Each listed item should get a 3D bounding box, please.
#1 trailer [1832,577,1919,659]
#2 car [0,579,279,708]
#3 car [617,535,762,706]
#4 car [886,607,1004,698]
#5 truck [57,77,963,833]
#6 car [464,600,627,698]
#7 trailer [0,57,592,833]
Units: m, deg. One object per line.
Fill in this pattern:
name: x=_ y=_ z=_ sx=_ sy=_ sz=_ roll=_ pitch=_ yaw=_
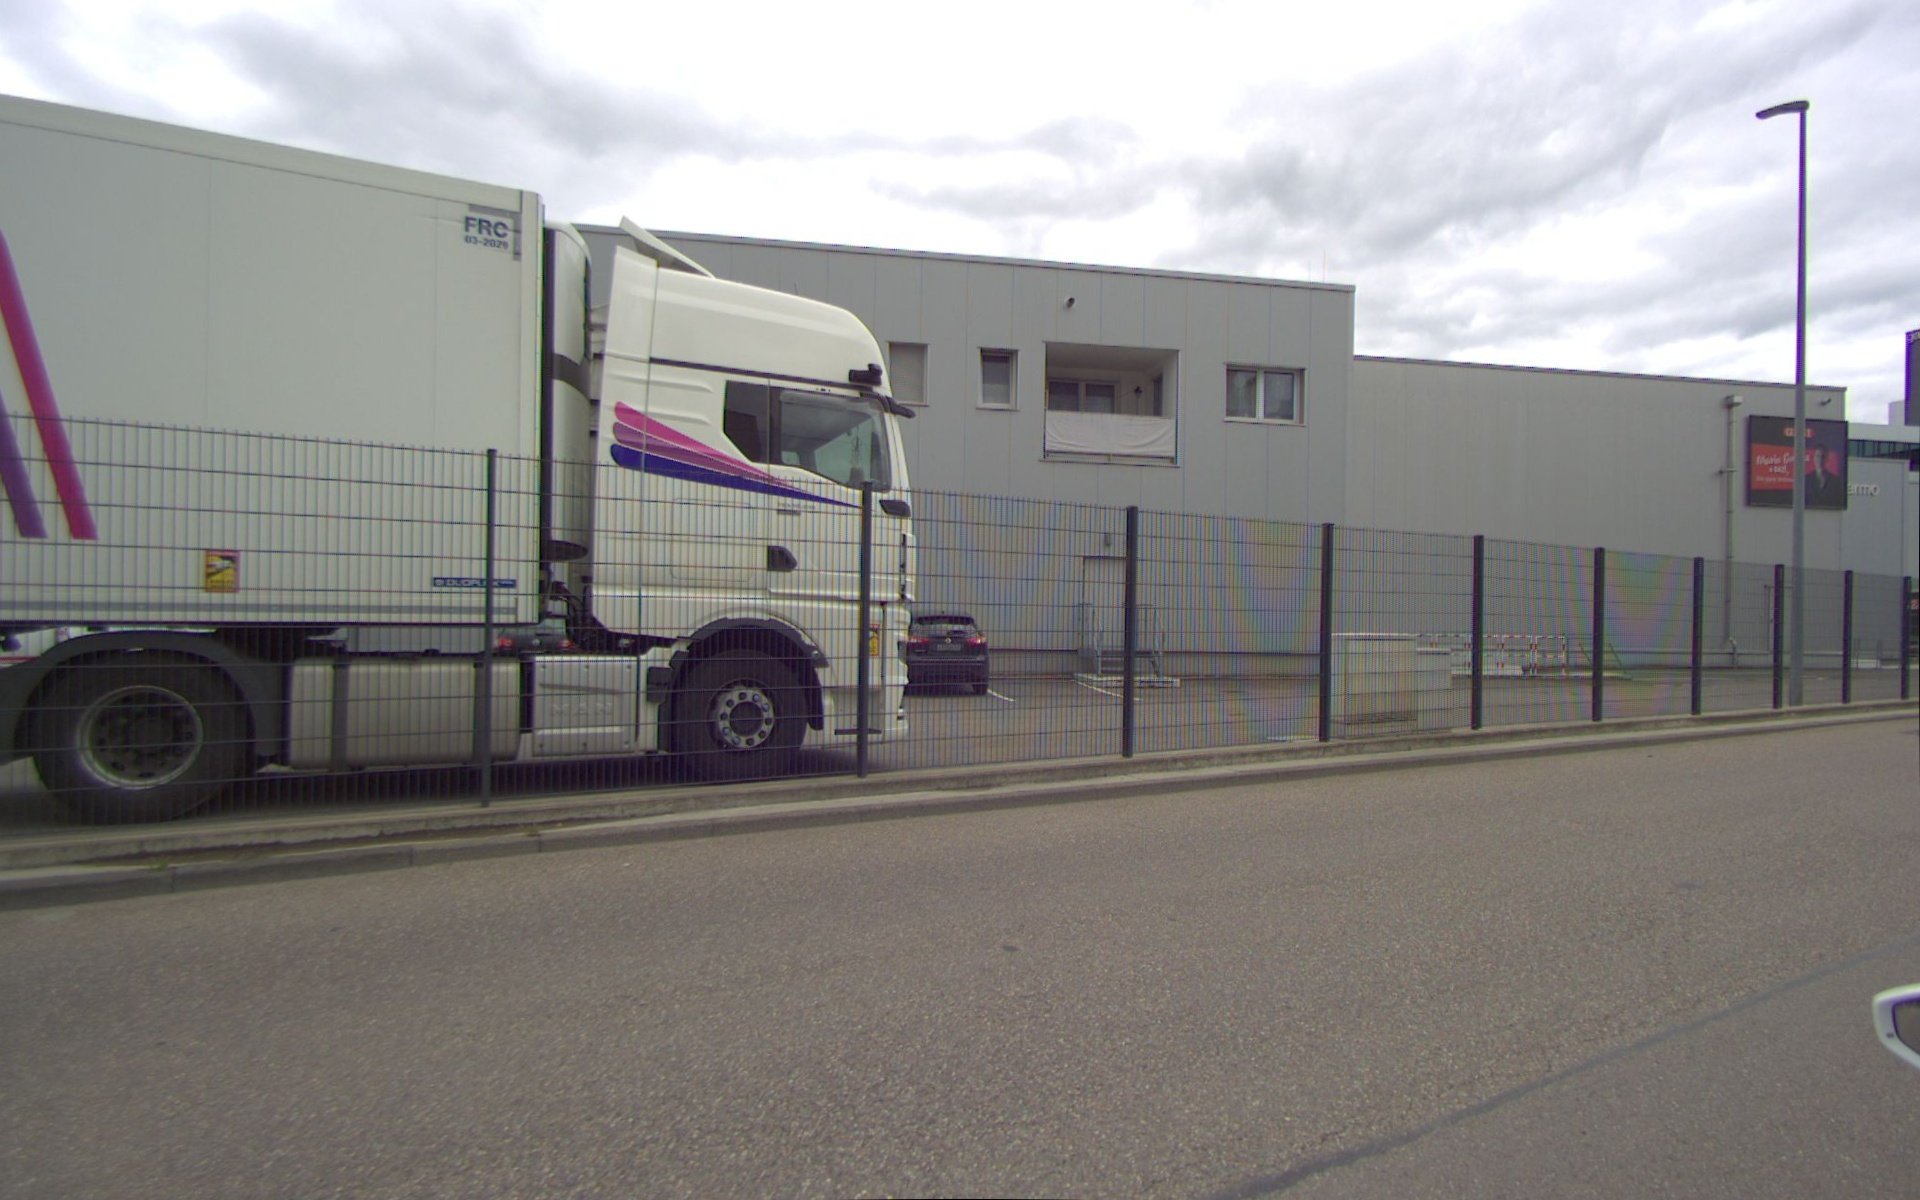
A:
trailer: x=52.448 y=1.008 z=52.794 sx=12.389 sy=4.085 sz=2.746 roll=1 pitch=0 yaw=-10
car: x=-14.163 y=0.706 z=17.083 sx=1.908 sy=1.833 sz=5.686 roll=1 pitch=-2 yaw=-8
car: x=-4.952 y=0.311 z=19.143 sx=2.201 sy=2.767 sz=5.423 roll=1 pitch=1 yaw=-11
car: x=-0.417 y=0.993 z=20.689 sx=1.908 sy=1.598 sz=4.075 roll=1 pitch=1 yaw=-8
truck: x=-3.185 y=-0.707 z=8.326 sx=5.554 sy=4.214 sz=3.348 roll=1 pitch=-2 yaw=-27
car: x=-7.715 y=0.842 z=19.115 sx=1.908 sy=1.598 sz=4.075 roll=1 pitch=1 yaw=-8
trailer: x=-9.341 y=-0.877 z=5.198 sx=13.668 sy=4.214 sz=3.348 roll=1 pitch=-2 yaw=-27
